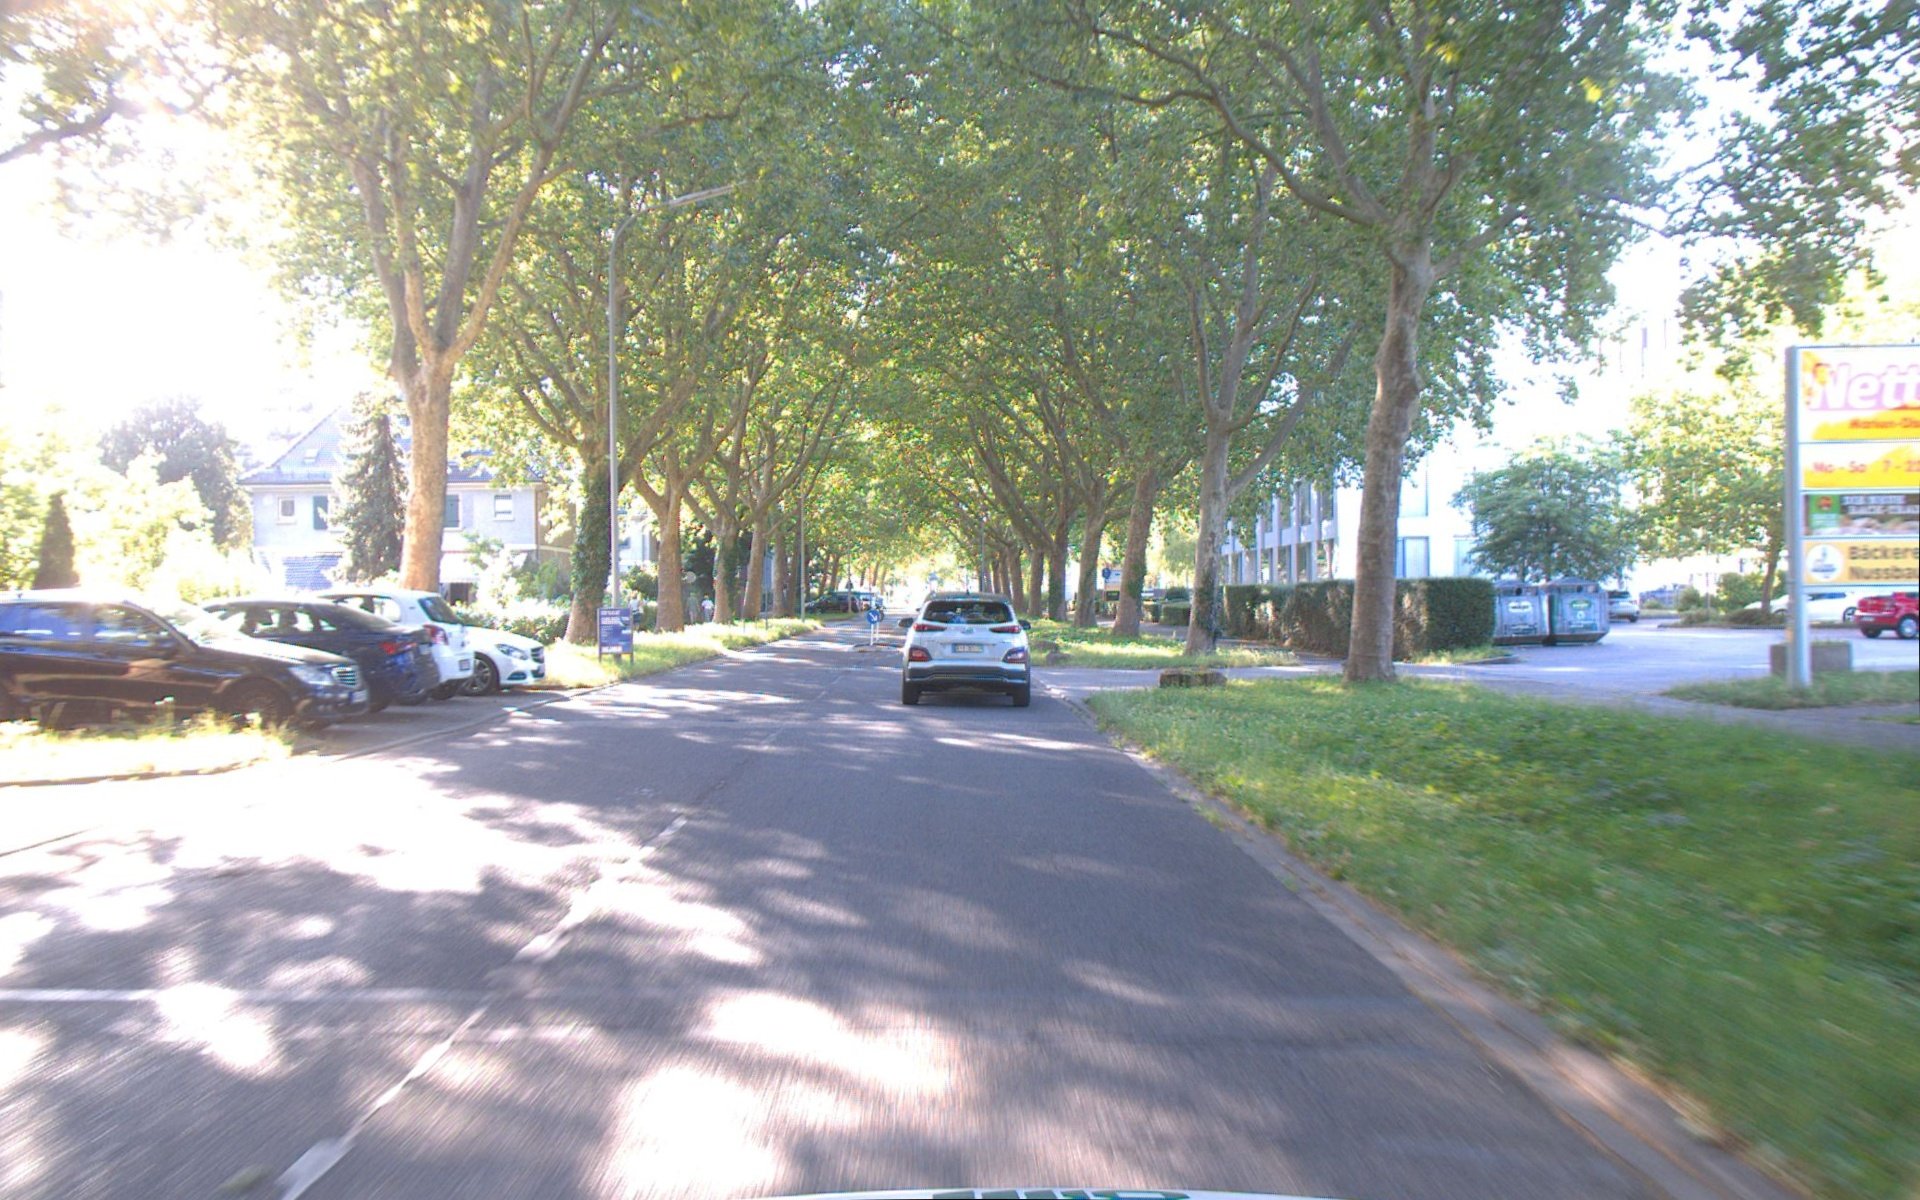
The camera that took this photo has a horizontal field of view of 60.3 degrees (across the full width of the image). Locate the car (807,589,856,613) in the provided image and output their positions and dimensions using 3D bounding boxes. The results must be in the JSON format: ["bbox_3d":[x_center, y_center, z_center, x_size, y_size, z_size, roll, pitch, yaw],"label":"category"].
[{"bbox_3d":[-10.251,0.086,131.821,3.910,1.803,1.997,1,-1,-6],"label":"car"}]

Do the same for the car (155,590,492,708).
[{"bbox_3d":[-8.621,0.641,22.666,3.907,1.546,1.808,0,0,-2],"label":"car"}]

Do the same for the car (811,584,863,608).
[{"bbox_3d":[-9.571,-0.326,128.587,3.910,1.803,1.997,1,-1,-6],"label":"car"}]

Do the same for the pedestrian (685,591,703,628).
[{"bbox_3d":[-13.849,0.519,86.061,0.740,1.907,0.786,1,-1,-27],"label":"pedestrian"}]

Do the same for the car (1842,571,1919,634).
[{"bbox_3d":[25.629,0.062,43.518,3.910,1.594,1.861,0,0,-6],"label":"car"}]

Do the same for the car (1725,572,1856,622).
[{"bbox_3d":[31.178,-0.115,62.166,3.904,1.803,2.001,-1,0,2],"label":"car"}]

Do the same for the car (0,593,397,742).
[{"bbox_3d":[-8.248,0.678,17.594,3.907,1.496,1.780,0,0,-3],"label":"car"}]

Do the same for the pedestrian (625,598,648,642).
[{"bbox_3d":[-12.715,0.786,64.990,0.734,1.737,0.793,0,-1,-1],"label":"pedestrian"}]

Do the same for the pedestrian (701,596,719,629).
[{"bbox_3d":[-13.062,0.642,86.356,0.740,1.737,0.787,1,-1,-25],"label":"pedestrian"}]

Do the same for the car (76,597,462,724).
[{"bbox_3d":[-8.198,0.688,19.923,3.909,1.449,1.807,0,0,-6],"label":"car"}]

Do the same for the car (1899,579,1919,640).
[{"bbox_3d":[25.178,0.205,40.019,3.910,1.466,1.861,-1,0,-6],"label":"car"}]

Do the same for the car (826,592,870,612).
[{"bbox_3d":[-10.220,0.152,150.821,3.910,1.803,1.998,0,0,-6],"label":"car"}]

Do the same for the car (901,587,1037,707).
[{"bbox_3d":[0.075,0.648,24.201,1.798,1.583,3.999,1,0,-1],"label":"car"}]

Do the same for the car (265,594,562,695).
[{"bbox_3d":[-8.253,0.653,25.233,3.905,1.496,1.809,0,0,0],"label":"car"}]
